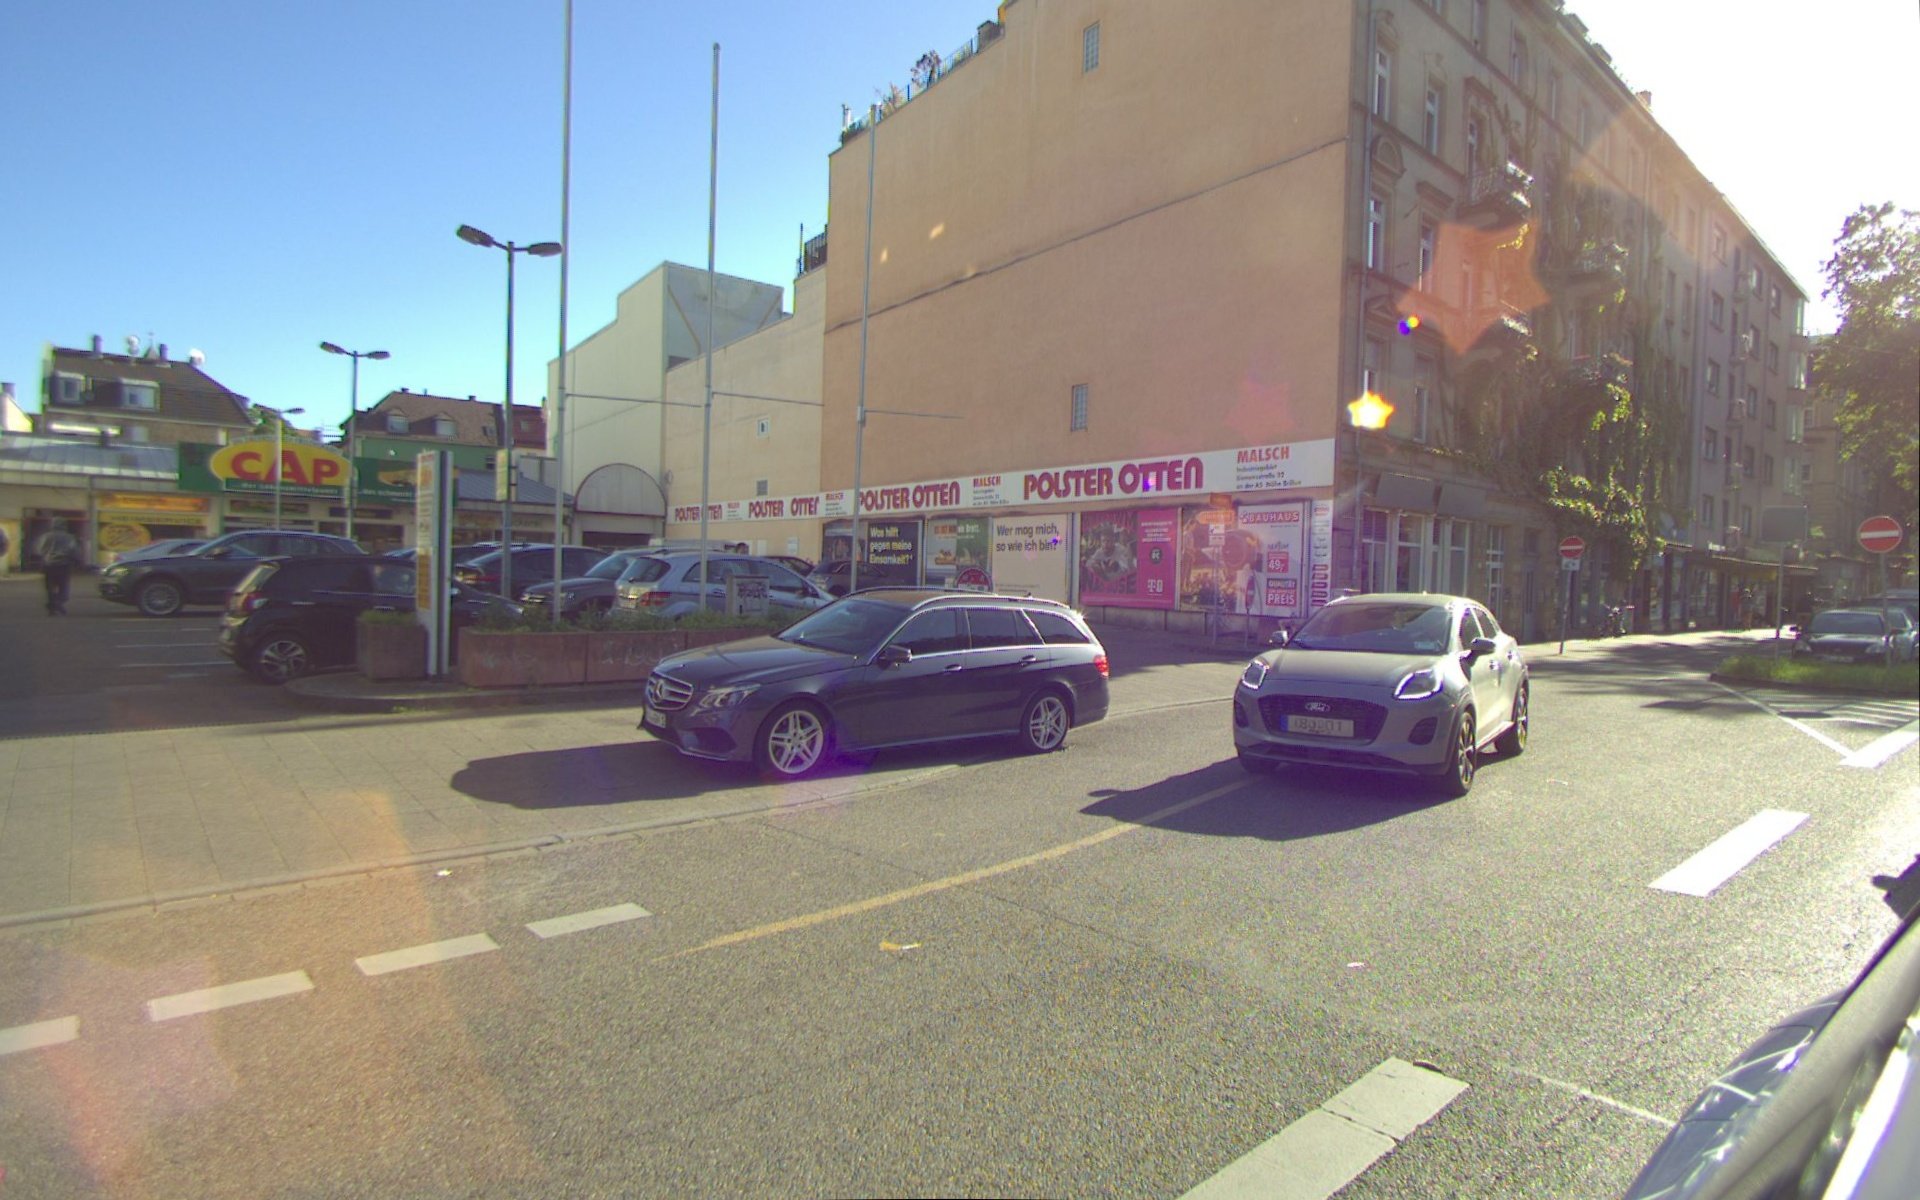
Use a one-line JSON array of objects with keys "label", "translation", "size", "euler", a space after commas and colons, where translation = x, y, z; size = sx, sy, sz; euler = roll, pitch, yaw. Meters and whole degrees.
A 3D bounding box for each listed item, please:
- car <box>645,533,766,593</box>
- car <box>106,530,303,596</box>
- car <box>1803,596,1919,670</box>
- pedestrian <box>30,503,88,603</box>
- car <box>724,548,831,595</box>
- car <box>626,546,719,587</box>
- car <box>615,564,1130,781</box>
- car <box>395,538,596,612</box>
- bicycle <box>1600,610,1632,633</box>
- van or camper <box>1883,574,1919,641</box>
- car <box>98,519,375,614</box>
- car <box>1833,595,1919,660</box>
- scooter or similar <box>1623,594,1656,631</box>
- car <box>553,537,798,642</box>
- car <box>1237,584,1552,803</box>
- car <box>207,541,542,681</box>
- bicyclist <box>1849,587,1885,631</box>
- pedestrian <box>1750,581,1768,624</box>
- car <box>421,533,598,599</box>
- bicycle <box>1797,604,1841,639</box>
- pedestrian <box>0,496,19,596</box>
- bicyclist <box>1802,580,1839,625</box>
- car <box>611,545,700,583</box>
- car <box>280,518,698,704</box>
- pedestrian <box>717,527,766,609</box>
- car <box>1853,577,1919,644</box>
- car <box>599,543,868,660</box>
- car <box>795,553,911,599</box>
[{"label": "car", "translation": [-11.032, -1.588, 44.013], "size": [4.789, 2.442, 1.712], "euler": [0, 2, -34]}, {"label": "car", "translation": [-19.206, -0.904, 25.815], "size": [3.930, 1.538, 1.725], "euler": [0, 2, -41]}, {"label": "car", "translation": [20.336, 0.681, 22.737], "size": [3.932, 1.537, 1.642], "euler": [0, -1, -43]}, {"label": "pedestrian", "translation": [-16.437, -0.853, 18.479], "size": [0.749, 1.777, 0.513], "euler": [0, 1, -40]}, {"label": "car", "translation": [-6.836, -1.097, 38.016], "size": [3.576, 1.690, 1.682], "euler": [-1, 3, -35]}, {"label": "car", "translation": [-13.713, -1.576, 48.333], "size": [3.967, 1.823, 1.664], "euler": [1, 2, -30]}, {"label": "car", "translation": [-0.639, 0.513, 9.652], "size": [4.650, 1.505, 1.838], "euler": [0, 4, -40]}, {"label": "car", "translation": [-10.517, -0.558, 23.068], "size": [3.870, 1.563, 1.544], "euler": [0, 2, -42]}, {"label": "bicycle", "translation": [21.548, 0.683, 33.219], "size": [1.486, 0.714, 0.469], "euler": [0, 2, -41]}, {"label": "van or camper", "translation": [31.479, 0.251, 32.701], "size": [5.006, 2.038, 1.887], "euler": [0, 2, -42]}, {"label": "car", "translation": [-14.180, -0.634, 19.990], "size": [4.306, 1.687, 1.758], "euler": [0, 2, -41]}, {"label": "car", "translation": [23.582, 0.654, 25.669], "size": [3.932, 1.537, 1.740], "euler": [0, -1, -43]}, {"label": "scooter or similar", "translation": [22.973, 0.409, 34.230], "size": [0.631, 1.188, 1.720], "euler": [2, 2, 25]}, {"label": "car", "translation": [-5.104, -0.207, 18.444], "size": [3.933, 1.714, 1.747], "euler": [0, 2, -44]}, {"label": "car", "translation": [4.244, 0.649, 9.454], "size": [1.694, 1.547, 4.321], "euler": [1, 1, 37]}, {"label": "car", "translation": [-7.187, 0.086, 12.600], "size": [3.339, 1.504, 1.559], "euler": [0, 2, -45]}, {"label": "bicyclist", "translation": [32.236, 0.309, 35.958], "size": [1.161, 1.463, 0.678], "euler": [0, 5, -41]}, {"label": "pedestrian", "translation": [34.690, 0.114, 43.947], "size": [0.507, 1.856, 0.469], "euler": [1, 1, -41]}, {"label": "car", "translation": [-11.594, -0.853, 26.169], "size": [3.870, 1.601, 1.659], "euler": [0, 2, -42]}, {"label": "bicycle", "translation": [28.814, 0.714, 33.930], "size": [1.918, 1.116, 0.758], "euler": [0, 2, -39]}, {"label": "pedestrian", "translation": [-18.098, -1.013, 18.899], "size": [0.750, 1.864, 0.747], "euler": [0, 2, -43]}, {"label": "bicyclist", "translation": [28.887, 0.074, 33.974], "size": [0.934, 1.480, 0.746], "euler": [-1, 2, -39]}, {"label": "car", "translation": [-15.194, -1.792, 50.608], "size": [3.967, 1.758, 1.664], "euler": [1, 2, -30]}, {"label": "car", "translation": [-5.026, 0.030, 11.123], "size": [3.839, 1.664, 1.652], "euler": [-1, 5, -45]}, {"label": "pedestrian", "translation": [-5.580, -0.815, 25.803], "size": [0.907, 2.039, 0.818], "euler": [0, 1, -40]}, {"label": "car", "translation": [27.364, 0.284, 29.159], "size": [3.929, 1.785, 1.868], "euler": [0, 2, -40]}, {"label": "car", "translation": [-3.568, -0.025, 16.383], "size": [3.935, 1.665, 1.746], "euler": [0, 2, -45]}, {"label": "car", "translation": [-3.610, -0.839, 34.398], "size": [3.579, 1.481, 1.680], "euler": [-1, 3, -39]}]
